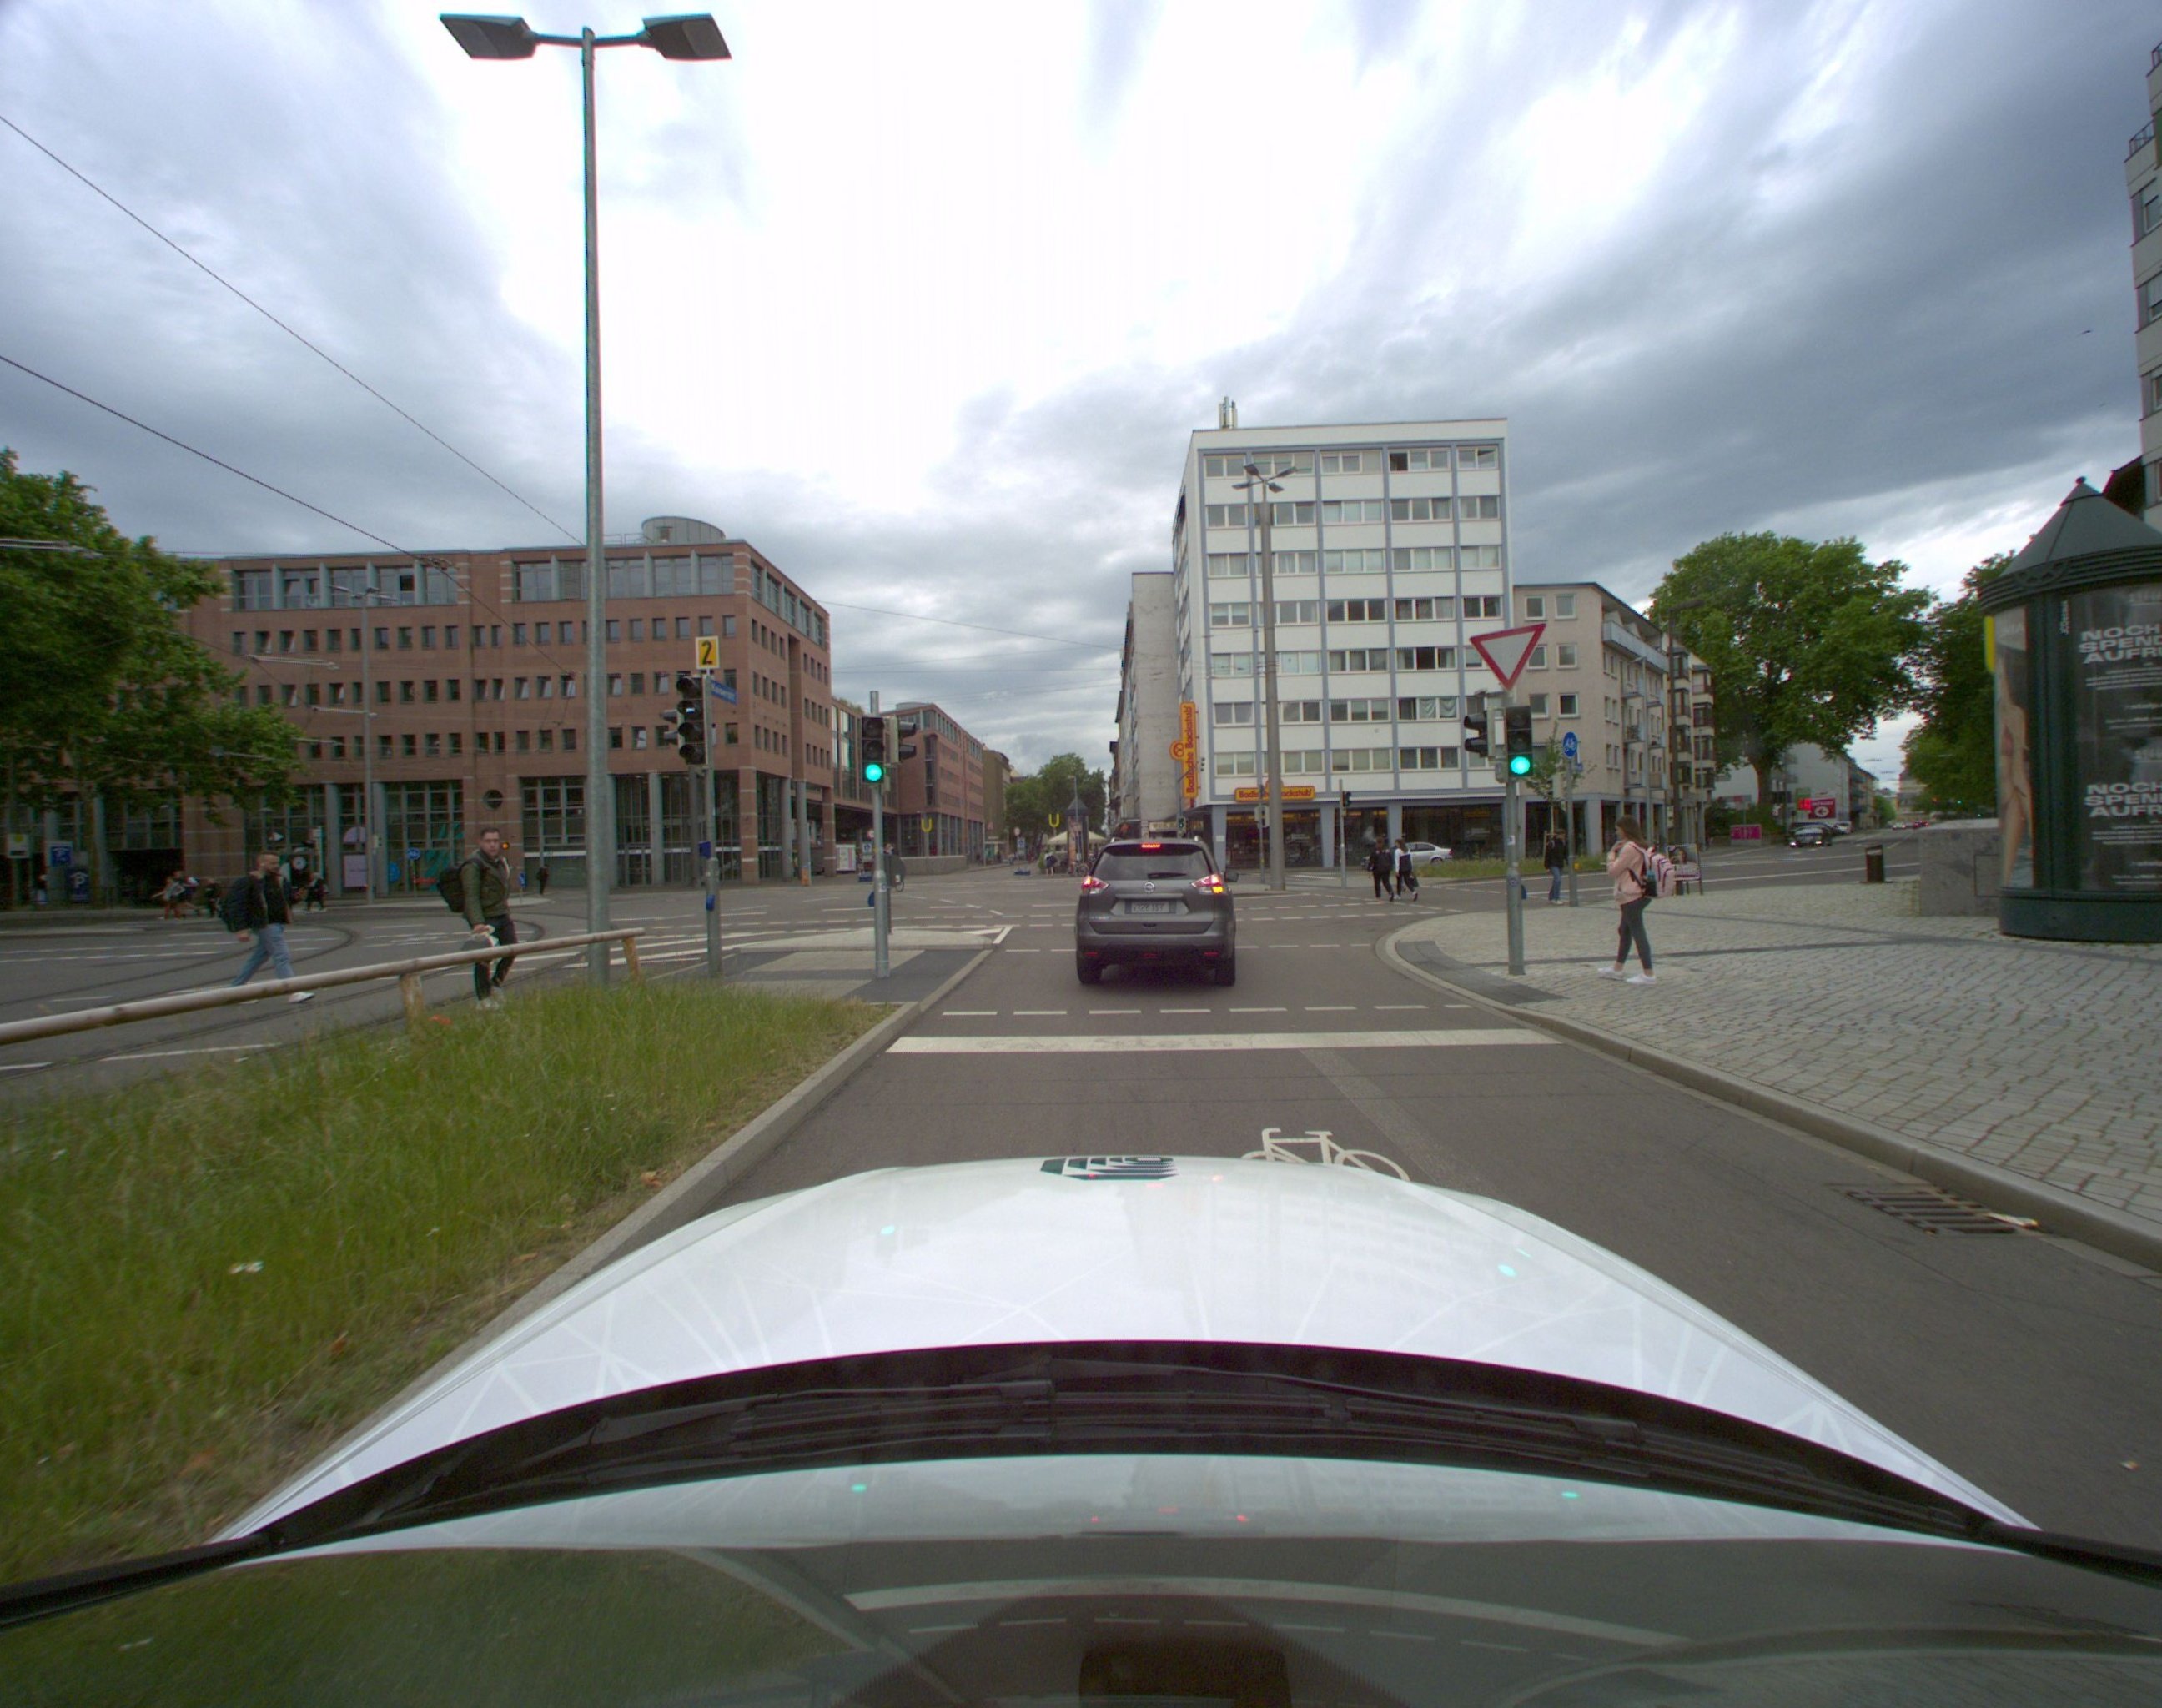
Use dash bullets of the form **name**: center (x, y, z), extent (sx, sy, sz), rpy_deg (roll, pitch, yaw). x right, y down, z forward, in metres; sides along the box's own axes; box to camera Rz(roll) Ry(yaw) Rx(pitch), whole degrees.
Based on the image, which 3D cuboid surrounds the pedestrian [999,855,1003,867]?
- **pedestrian**: center (-11.883, 1.033, 121.465), extent (0.599, 1.714, 0.654), rpy_deg (-1, 0, -6)

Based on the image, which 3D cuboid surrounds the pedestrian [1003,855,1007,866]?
- **pedestrian**: center (-11.649, 1.013, 125.075), extent (0.599, 1.714, 0.654), rpy_deg (-1, 0, -6)

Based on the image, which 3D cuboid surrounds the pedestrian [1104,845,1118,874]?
- **pedestrian**: center (1.822, 0.361, 49.742), extent (0.731, 1.745, 0.661), rpy_deg (-1, 0, -7)

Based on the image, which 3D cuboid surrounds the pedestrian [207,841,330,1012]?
- **pedestrian**: center (-9.439, 0.813, 9.492), extent (0.608, 1.890, 0.799), rpy_deg (-2, -1, -1)

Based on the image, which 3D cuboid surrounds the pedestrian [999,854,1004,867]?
- **pedestrian**: center (-10.779, 0.876, 110.120), extent (0.599, 1.714, 0.654), rpy_deg (-1, 0, -6)

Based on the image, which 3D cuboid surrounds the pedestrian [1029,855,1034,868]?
- **pedestrian**: center (-6.776, 0.996, 111.645), extent (0.599, 1.714, 0.654), rpy_deg (-1, 0, -6)

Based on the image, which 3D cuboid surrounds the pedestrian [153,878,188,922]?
- **pedestrian**: center (-33.972, 1.701, 30.389), extent (0.572, 1.612, 0.628), rpy_deg (-1, -1, -6)

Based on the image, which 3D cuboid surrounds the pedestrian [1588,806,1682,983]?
- **pedestrian**: center (5.725, 0.403, 8.439), extent (0.522, 1.761, 0.600), rpy_deg (-1, 0, -6)

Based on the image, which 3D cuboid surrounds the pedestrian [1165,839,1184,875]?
- **pedestrian**: center (4.814, 0.154, 42.001), extent (0.712, 1.832, 1.015), rpy_deg (-1, 0, -6)

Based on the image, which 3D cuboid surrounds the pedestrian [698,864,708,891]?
- **pedestrian**: center (-22.350, 1.375, 48.115), extent (0.450, 1.532, 0.519), rpy_deg (-1, 0, -16)

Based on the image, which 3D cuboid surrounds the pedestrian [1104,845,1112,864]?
- **pedestrian**: center (2.388, 0.038, 72.531), extent (0.640, 1.705, 0.559), rpy_deg (-1, 0, 2)

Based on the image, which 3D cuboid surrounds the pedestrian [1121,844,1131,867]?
- **pedestrian**: center (3.716, 0.110, 66.967), extent (0.735, 1.821, 0.662), rpy_deg (-2, 0, -1)

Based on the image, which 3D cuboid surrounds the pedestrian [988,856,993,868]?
- **pedestrian**: center (-12.308, 1.083, 111.049), extent (0.599, 1.714, 0.654), rpy_deg (-1, 0, -6)

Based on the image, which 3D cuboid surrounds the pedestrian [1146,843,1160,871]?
- **pedestrian**: center (4.485, 0.196, 50.643), extent (0.705, 1.705, 0.737), rpy_deg (-1, 0, 13)

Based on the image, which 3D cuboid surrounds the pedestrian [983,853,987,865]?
- **pedestrian**: center (-14.191, 0.723, 120.202), extent (0.599, 1.714, 0.654), rpy_deg (-1, 0, -6)

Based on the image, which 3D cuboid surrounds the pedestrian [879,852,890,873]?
- **pedestrian**: center (-17.627, 0.784, 73.045), extent (0.694, 1.842, 0.738), rpy_deg (-1, 0, 21)

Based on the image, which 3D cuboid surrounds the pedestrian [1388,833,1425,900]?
- **pedestrian**: center (8.777, 0.321, 21.999), extent (0.620, 1.761, 0.778), rpy_deg (-1, 0, -6)

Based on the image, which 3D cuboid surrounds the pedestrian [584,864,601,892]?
- **pedestrian**: center (-27.670, 1.369, 46.133), extent (0.745, 1.560, 0.569), rpy_deg (0, -2, -25)

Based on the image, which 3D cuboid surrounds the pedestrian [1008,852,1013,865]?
- **pedestrian**: center (-8.221, 0.518, 94.752), extent (0.599, 1.536, 0.654), rpy_deg (-1, 0, -6)

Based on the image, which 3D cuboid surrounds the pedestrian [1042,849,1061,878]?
- **pedestrian**: center (-1.804, 0.575, 49.739), extent (0.918, 1.705, 0.738), rpy_deg (-1, 0, 21)

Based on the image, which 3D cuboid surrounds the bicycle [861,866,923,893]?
- **bicycle**: center (-7.967, 1.068, 34.211), extent (3.237, 1.045, 0.910), rpy_deg (-2, 0, 45)

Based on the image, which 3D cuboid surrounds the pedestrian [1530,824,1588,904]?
- **pedestrian**: center (11.825, 0.239, 20.185), extent (0.798, 1.862, 1.156), rpy_deg (-4, -1, 11)

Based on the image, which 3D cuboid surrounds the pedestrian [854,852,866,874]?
- **pedestrian**: center (-18.525, 0.732, 68.237), extent (0.695, 1.842, 0.737), rpy_deg (-1, 0, 15)

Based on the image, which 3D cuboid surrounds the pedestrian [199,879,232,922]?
- **pedestrian**: center (-32.424, 1.743, 30.516), extent (0.572, 1.574, 0.628), rpy_deg (-1, -1, -6)

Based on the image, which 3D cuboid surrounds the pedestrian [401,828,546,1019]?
- **pedestrian**: center (-6.297, 0.695, 8.496), extent (0.894, 1.890, 0.799), rpy_deg (0, -1, -1)

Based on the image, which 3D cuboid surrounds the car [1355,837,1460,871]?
- **car**: center (16.363, -0.012, 40.952), extent (4.539, 1.481, 1.747), rpy_deg (-3, 0, -2)

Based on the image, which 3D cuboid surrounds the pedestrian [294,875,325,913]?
- **pedestrian**: center (-32.024, 1.649, 33.820), extent (0.569, 1.560, 0.745), rpy_deg (-1, -1, 6)

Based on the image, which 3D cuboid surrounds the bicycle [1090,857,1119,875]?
- **bicycle**: center (1.453, 0.721, 50.092), extent (1.686, 1.065, 0.438), rpy_deg (-1, 0, 7)

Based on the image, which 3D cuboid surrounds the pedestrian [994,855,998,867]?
- **pedestrian**: center (-12.487, 1.026, 119.320), extent (0.599, 1.714, 0.654), rpy_deg (-1, 0, -6)

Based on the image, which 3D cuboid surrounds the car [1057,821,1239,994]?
- **car**: center (1.085, 0.576, 10.818), extent (1.852, 1.775, 4.579), rpy_deg (-2, 0, 10)

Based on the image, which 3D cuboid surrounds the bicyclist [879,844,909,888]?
- **bicyclist**: center (-7.833, 0.493, 34.094), extent (0.866, 1.812, 0.842), rpy_deg (-1, 0, 42)

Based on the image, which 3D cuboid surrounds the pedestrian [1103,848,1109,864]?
- **pedestrian**: center (2.648, 0.228, 86.992), extent (0.609, 1.705, 0.620), rpy_deg (-1, 0, 2)

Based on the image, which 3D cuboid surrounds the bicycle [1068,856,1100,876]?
- **bicycle**: center (0.166, 0.720, 49.886), extent (1.869, 1.171, 0.528), rpy_deg (-1, 0, -13)

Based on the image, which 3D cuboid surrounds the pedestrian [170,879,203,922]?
- **pedestrian**: center (-34.259, 1.769, 31.203), extent (0.572, 1.612, 0.628), rpy_deg (-1, -1, -6)

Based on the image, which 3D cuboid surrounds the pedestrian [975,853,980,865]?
- **pedestrian**: center (-15.230, 0.740, 120.020), extent (0.599, 1.714, 0.654), rpy_deg (-1, 0, -6)

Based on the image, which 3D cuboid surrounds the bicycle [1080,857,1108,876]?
- **bicycle**: center (0.781, 0.760, 50.740), extent (1.693, 1.172, 0.436), rpy_deg (-1, 0, -6)

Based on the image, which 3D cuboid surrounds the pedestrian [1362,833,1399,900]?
- **pedestrian**: center (8.060, 0.333, 21.945), extent (0.620, 1.761, 0.778), rpy_deg (-1, 0, -6)

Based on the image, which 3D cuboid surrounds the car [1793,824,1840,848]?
- **car**: center (50.833, -1.272, 56.284), extent (4.590, 1.481, 1.728), rpy_deg (-2, 0, -40)

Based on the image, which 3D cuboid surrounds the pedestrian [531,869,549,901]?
- **pedestrian**: center (-29.616, 1.691, 44.611), extent (0.745, 1.688, 0.569), rpy_deg (0, -2, -25)
